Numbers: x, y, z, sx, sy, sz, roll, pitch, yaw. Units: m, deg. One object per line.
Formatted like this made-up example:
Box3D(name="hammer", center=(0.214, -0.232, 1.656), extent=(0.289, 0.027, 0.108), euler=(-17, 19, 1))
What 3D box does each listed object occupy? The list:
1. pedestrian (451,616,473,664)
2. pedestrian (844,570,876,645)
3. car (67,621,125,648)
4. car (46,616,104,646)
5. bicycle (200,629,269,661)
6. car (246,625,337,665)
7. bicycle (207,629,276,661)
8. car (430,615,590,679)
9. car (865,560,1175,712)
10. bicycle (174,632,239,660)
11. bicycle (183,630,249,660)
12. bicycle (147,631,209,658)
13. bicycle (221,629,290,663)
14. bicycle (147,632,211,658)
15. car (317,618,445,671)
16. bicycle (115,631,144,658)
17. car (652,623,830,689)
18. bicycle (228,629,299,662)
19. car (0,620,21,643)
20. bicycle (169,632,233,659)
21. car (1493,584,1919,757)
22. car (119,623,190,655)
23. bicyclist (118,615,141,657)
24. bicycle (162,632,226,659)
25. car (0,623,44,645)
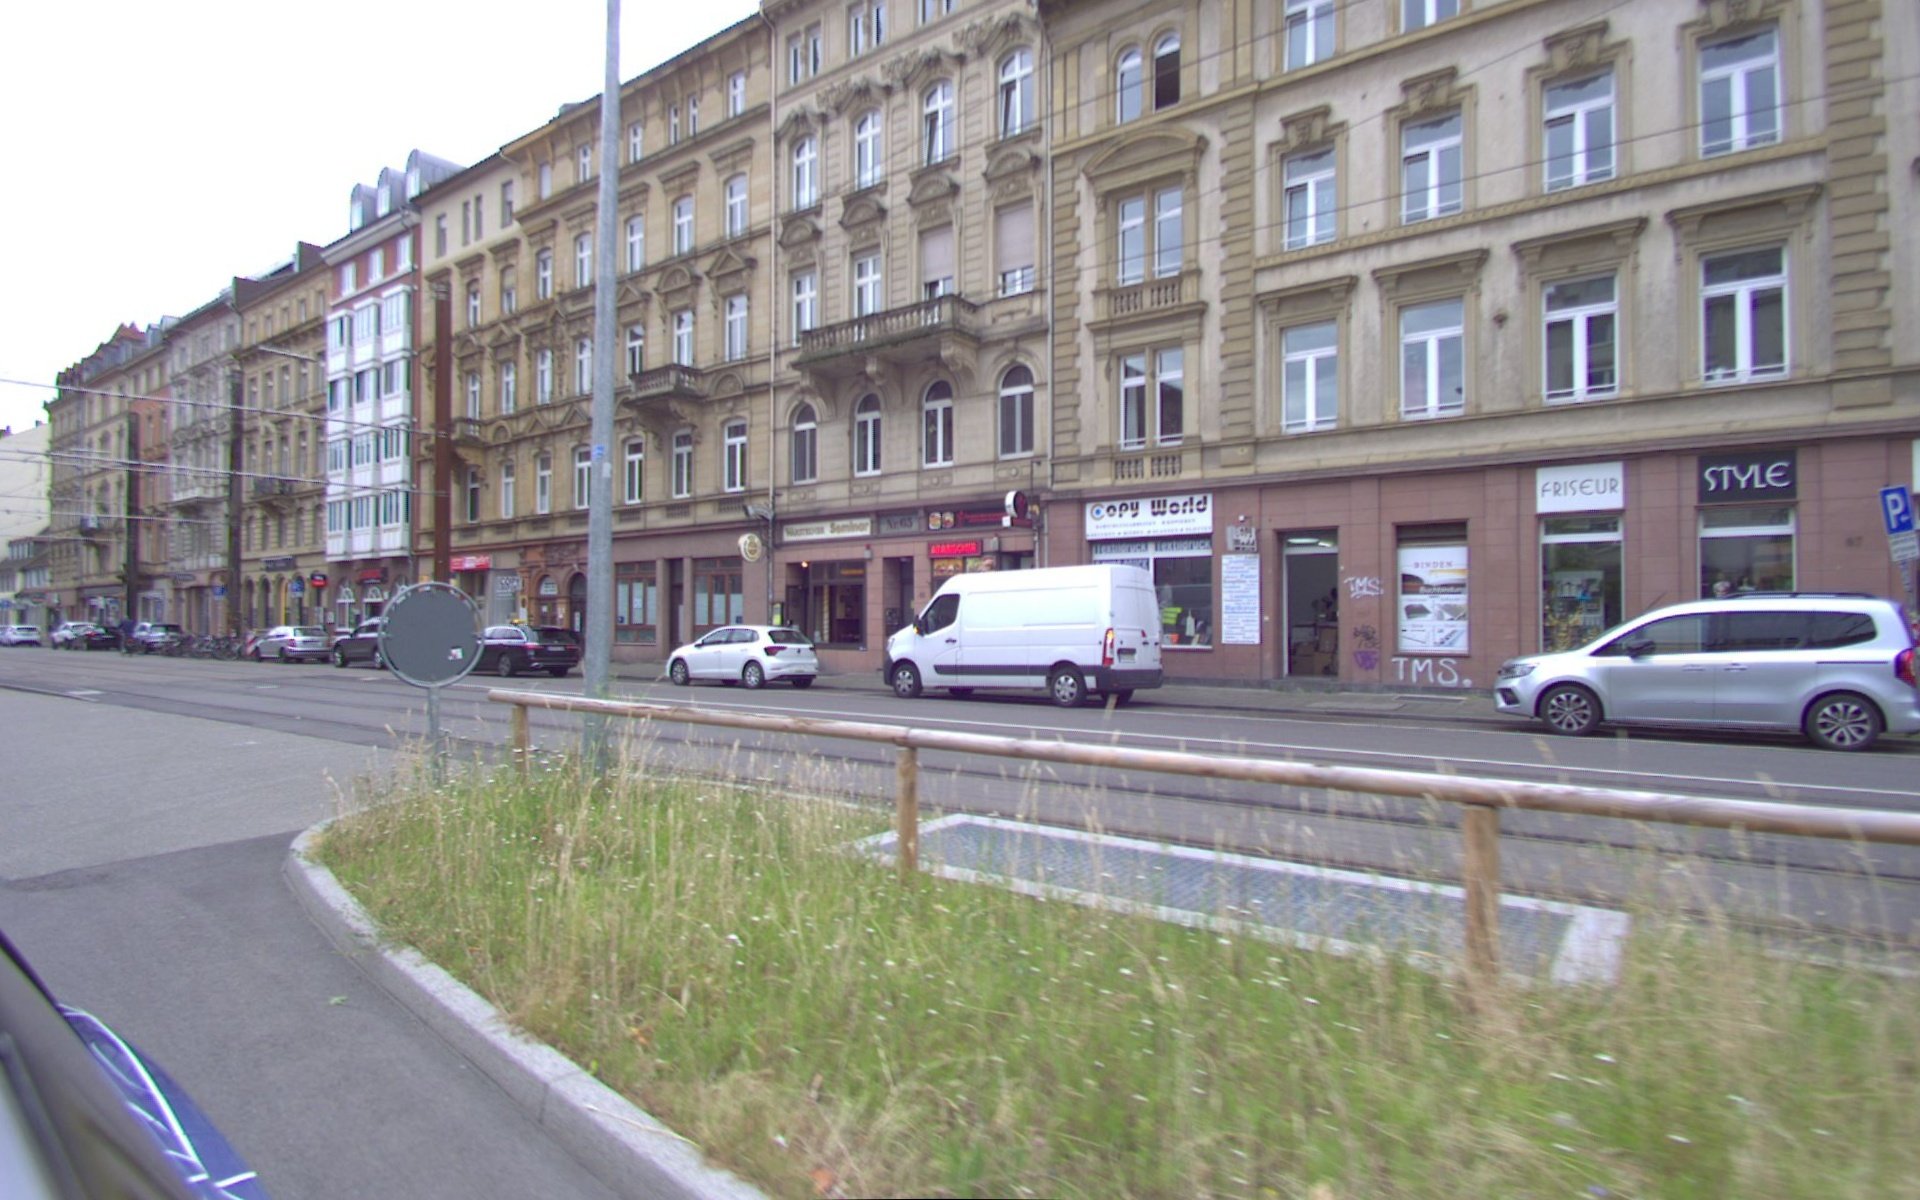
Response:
Box3D(name="pedestrian", center=(-18.989, 1.506, 38.595), extent=(0.644, 1.796, 0.788), euler=(-1, -1, -17))
Box3D(name="pedestrian", center=(-2.729, 0.200, 27.720), extent=(0.738, 2.029, 0.708), euler=(-1, -1, 6))
Box3D(name="car", center=(-48.739, 1.951, 57.076), extent=(3.914, 1.500, 1.727), euler=(-2, -3, 38))
Box3D(name="car", center=(-52.459, 1.852, 59.992), extent=(4.038, 1.685, 1.728), euler=(-2, -3, 37))
Box3D(name="bicycle", center=(-31.422, 1.963, 43.864), extent=(0.665, 1.339, 2.261), euler=(-1, -4, 37))
Box3D(name="car", center=(-26.364, 1.747, 39.862), extent=(3.912, 1.500, 1.728), euler=(-2, -3, 36))
Box3D(name="bicycle", center=(-30.770, 1.941, 43.356), extent=(0.665, 1.339, 2.261), euler=(-1, -4, 37))
Box3D(name="car", center=(-13.093, 1.347, 29.325), extent=(5.041, 1.702, 1.902), euler=(-1, -4, 36))
Box3D(name="car", center=(1.013, 0.696, 19.166), extent=(5.654, 2.506, 2.034), euler=(-1, -4, 36))
Box3D(name="bicycle", center=(-34.568, 2.126, 46.450), extent=(0.665, 1.212, 2.261), euler=(-1, -4, 37))
Box3D(name="bicycle", center=(-33.567, 2.045, 45.702), extent=(0.665, 1.339, 2.261), euler=(-1, -4, 37))
Box3D(name="bicycle", center=(-37.411, 2.099, 48.440), extent=(0.546, 1.212, 2.261), euler=(-1, -1, 37))
Box3D(name="bicycle", center=(-29.301, 1.927, 42.137), extent=(0.520, 1.339, 2.261), euler=(-1, -4, 37))
Box3D(name="bicycle", center=(-36.948, 2.133, 47.914), extent=(0.704, 1.212, 2.261), euler=(-1, -4, 37))
Box3D(name="car", center=(-19.972, 1.512, 34.854), extent=(5.018, 1.703, 1.798), euler=(-1, -3, 34))
Box3D(name="bicycle", center=(-38.280, 2.038, 46.636), extent=(2.042, 1.183, 0.579), euler=(-1, -3, 39))
Box3D(name="car", center=(-5.223, 1.305, 23.954), extent=(4.156, 1.434, 1.755), euler=(-1, -4, 36))
Box3D(name="bicycle", center=(-28.699, 1.898, 41.739), extent=(0.665, 1.339, 2.261), euler=(-1, -4, 37))
Box3D(name="car", center=(-67.872, 2.222, 71.263), extent=(4.537, 1.533, 1.807), euler=(-2, -3, 37))
Box3D(name="bicycle", center=(-35.137, 2.105, 46.881), extent=(0.665, 1.212, 2.261), euler=(-1, -4, 37))
Box3D(name="car", center=(9.433, 0.832, 12.857), extent=(4.510, 1.879, 1.886), euler=(-1, -3, 36))
Box3D(name="car", center=(-40.459, 1.965, 50.806), extent=(4.217, 1.545, 1.728), euler=(-2, -3, 37))
Box3D(name="bicyclist", center=(-38.245, 1.656, 46.592), extent=(1.027, 1.897, 0.639), euler=(-1, -1, 38))
Box3D(name="bicycle", center=(-35.781, 2.132, 47.312), extent=(0.704, 1.212, 2.261), euler=(-1, -4, 37))
Box3D(name="car", center=(-63.856, 2.320, 68.685), extent=(4.038, 1.476, 1.728), euler=(-2, -3, 37))
